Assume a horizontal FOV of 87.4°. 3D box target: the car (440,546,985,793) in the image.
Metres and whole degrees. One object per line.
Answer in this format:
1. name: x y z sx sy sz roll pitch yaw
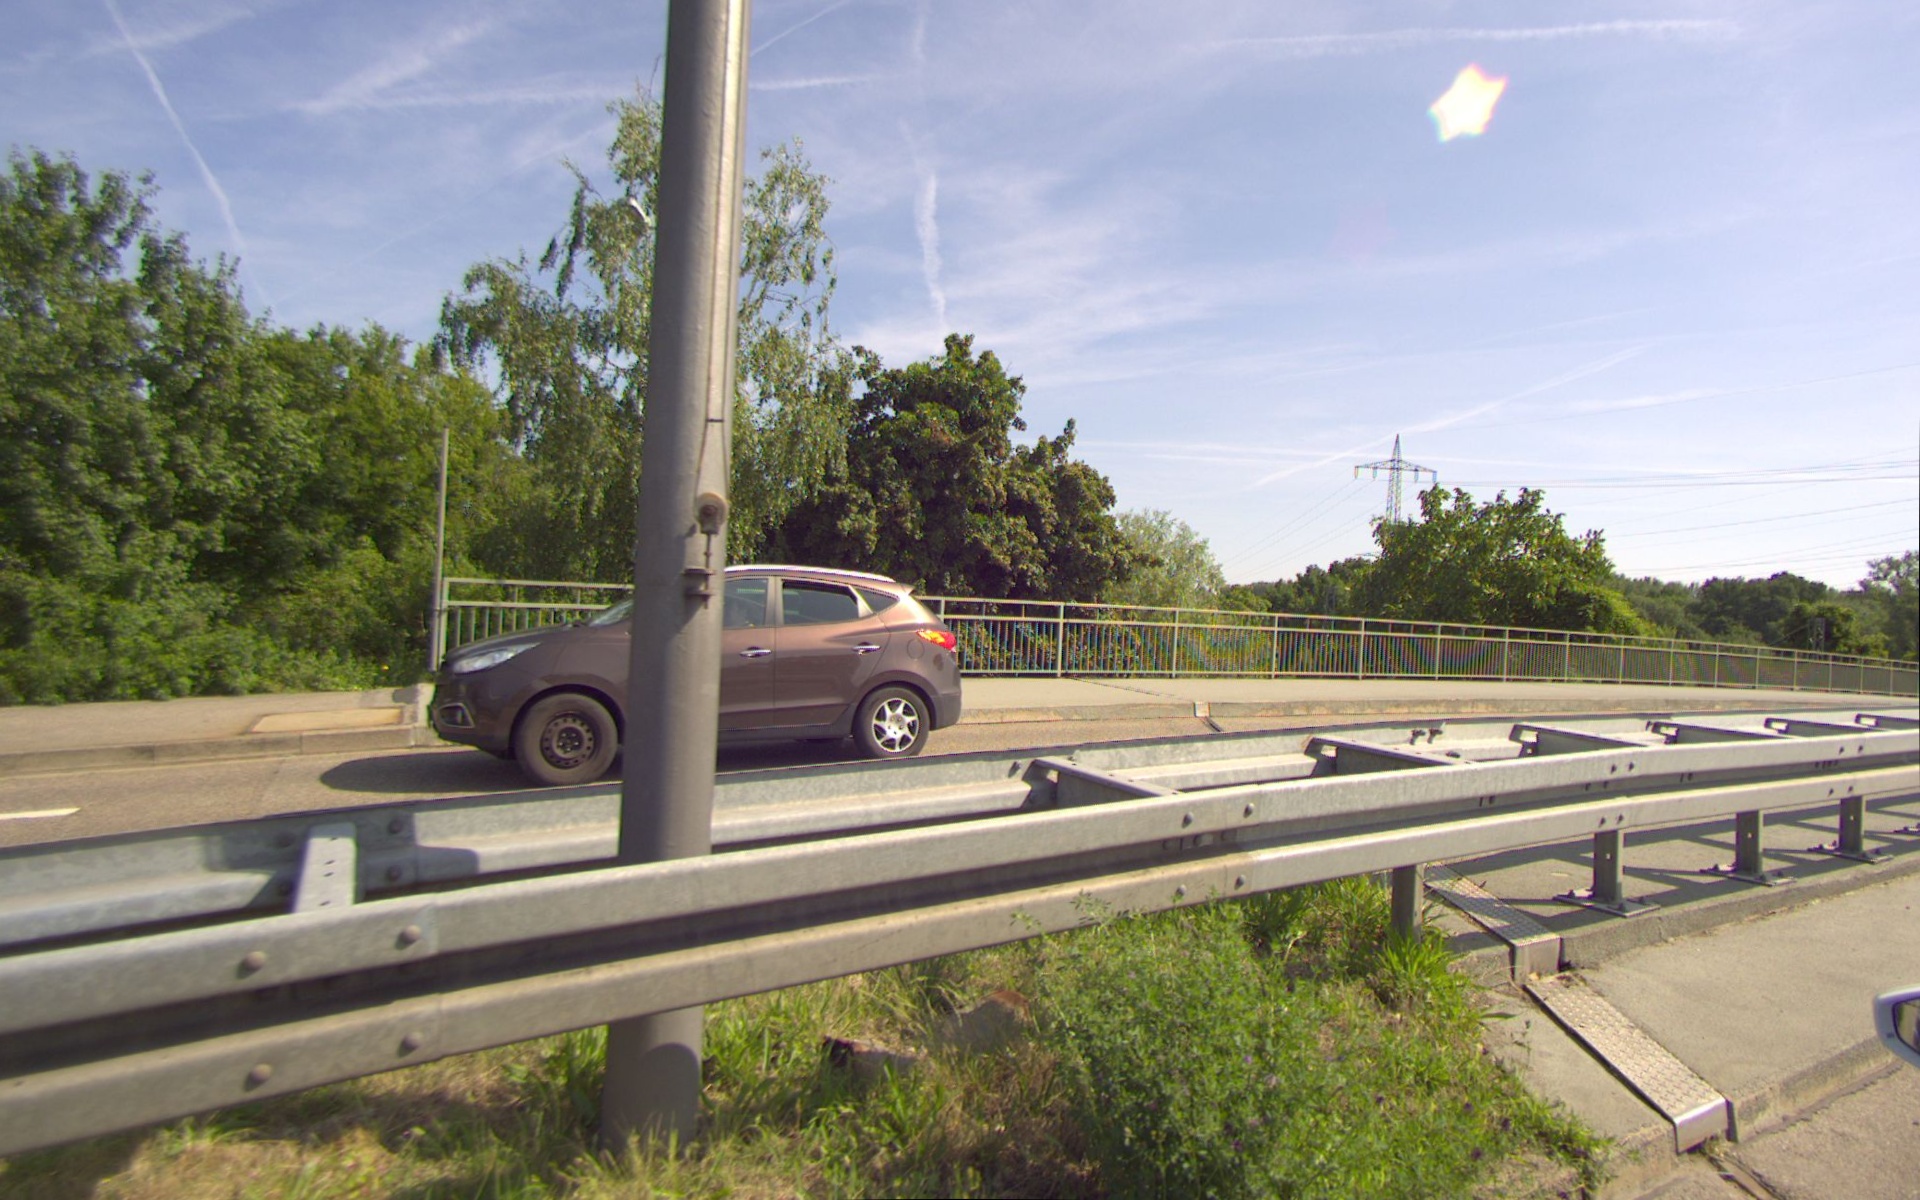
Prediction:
1. car: -2.049 0.512 8.602 4.175 1.657 1.873 1 -1 -30
